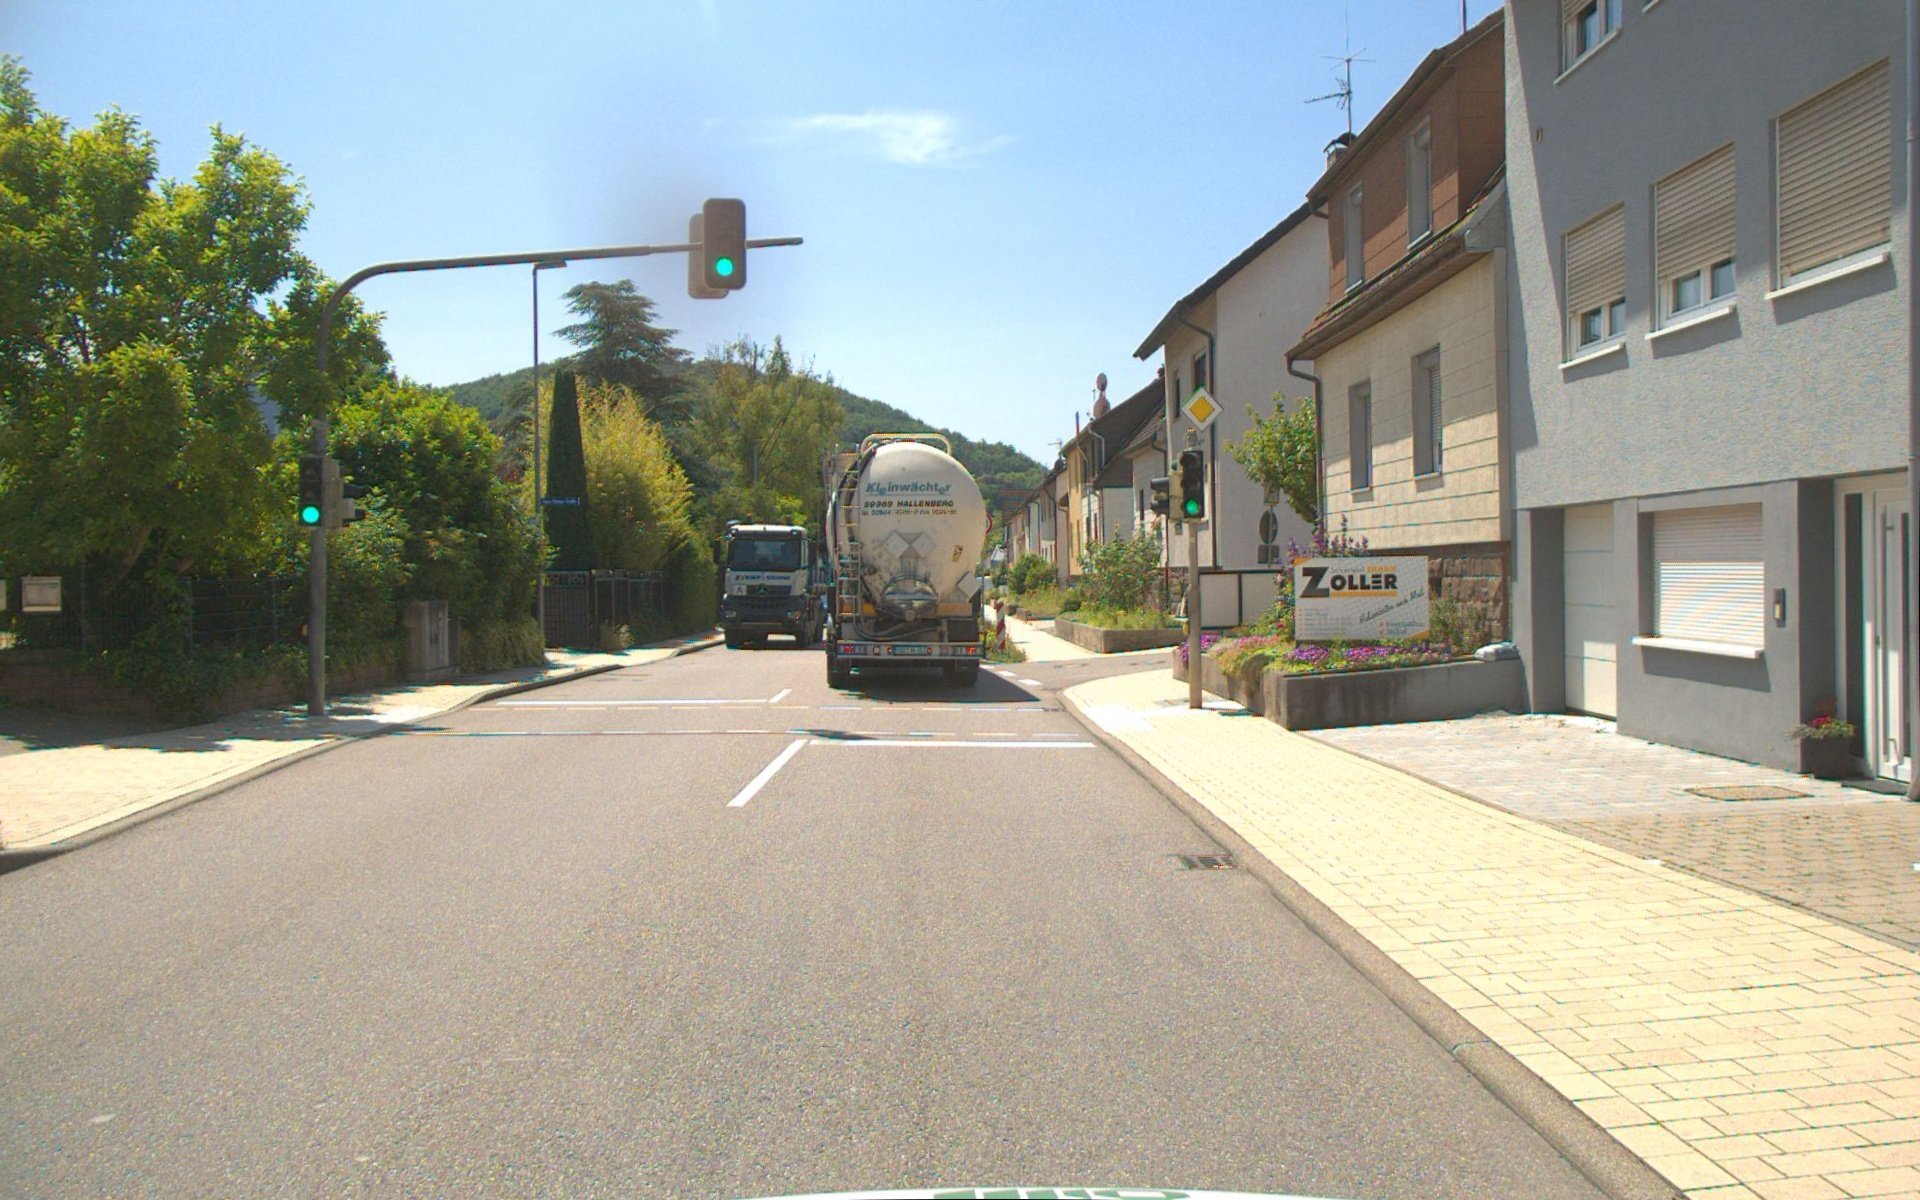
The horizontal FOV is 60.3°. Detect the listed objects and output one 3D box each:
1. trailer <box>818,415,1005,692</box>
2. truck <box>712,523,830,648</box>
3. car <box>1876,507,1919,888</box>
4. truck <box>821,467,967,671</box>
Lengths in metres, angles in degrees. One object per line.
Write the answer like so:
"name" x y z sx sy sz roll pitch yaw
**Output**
"trailer" -1.071 -0.678 29.553 2.741 4.071 10.315 0 0 -4
"truck" -5.598 -0.409 50.312 2.673 3.430 8.633 1 0 -1
"car" 4.732 0.317 4.624 1.755 1.567 4.520 -6 0 1
"truck" -1.564 -0.614 35.919 2.754 4.006 6.091 1 0 -6
